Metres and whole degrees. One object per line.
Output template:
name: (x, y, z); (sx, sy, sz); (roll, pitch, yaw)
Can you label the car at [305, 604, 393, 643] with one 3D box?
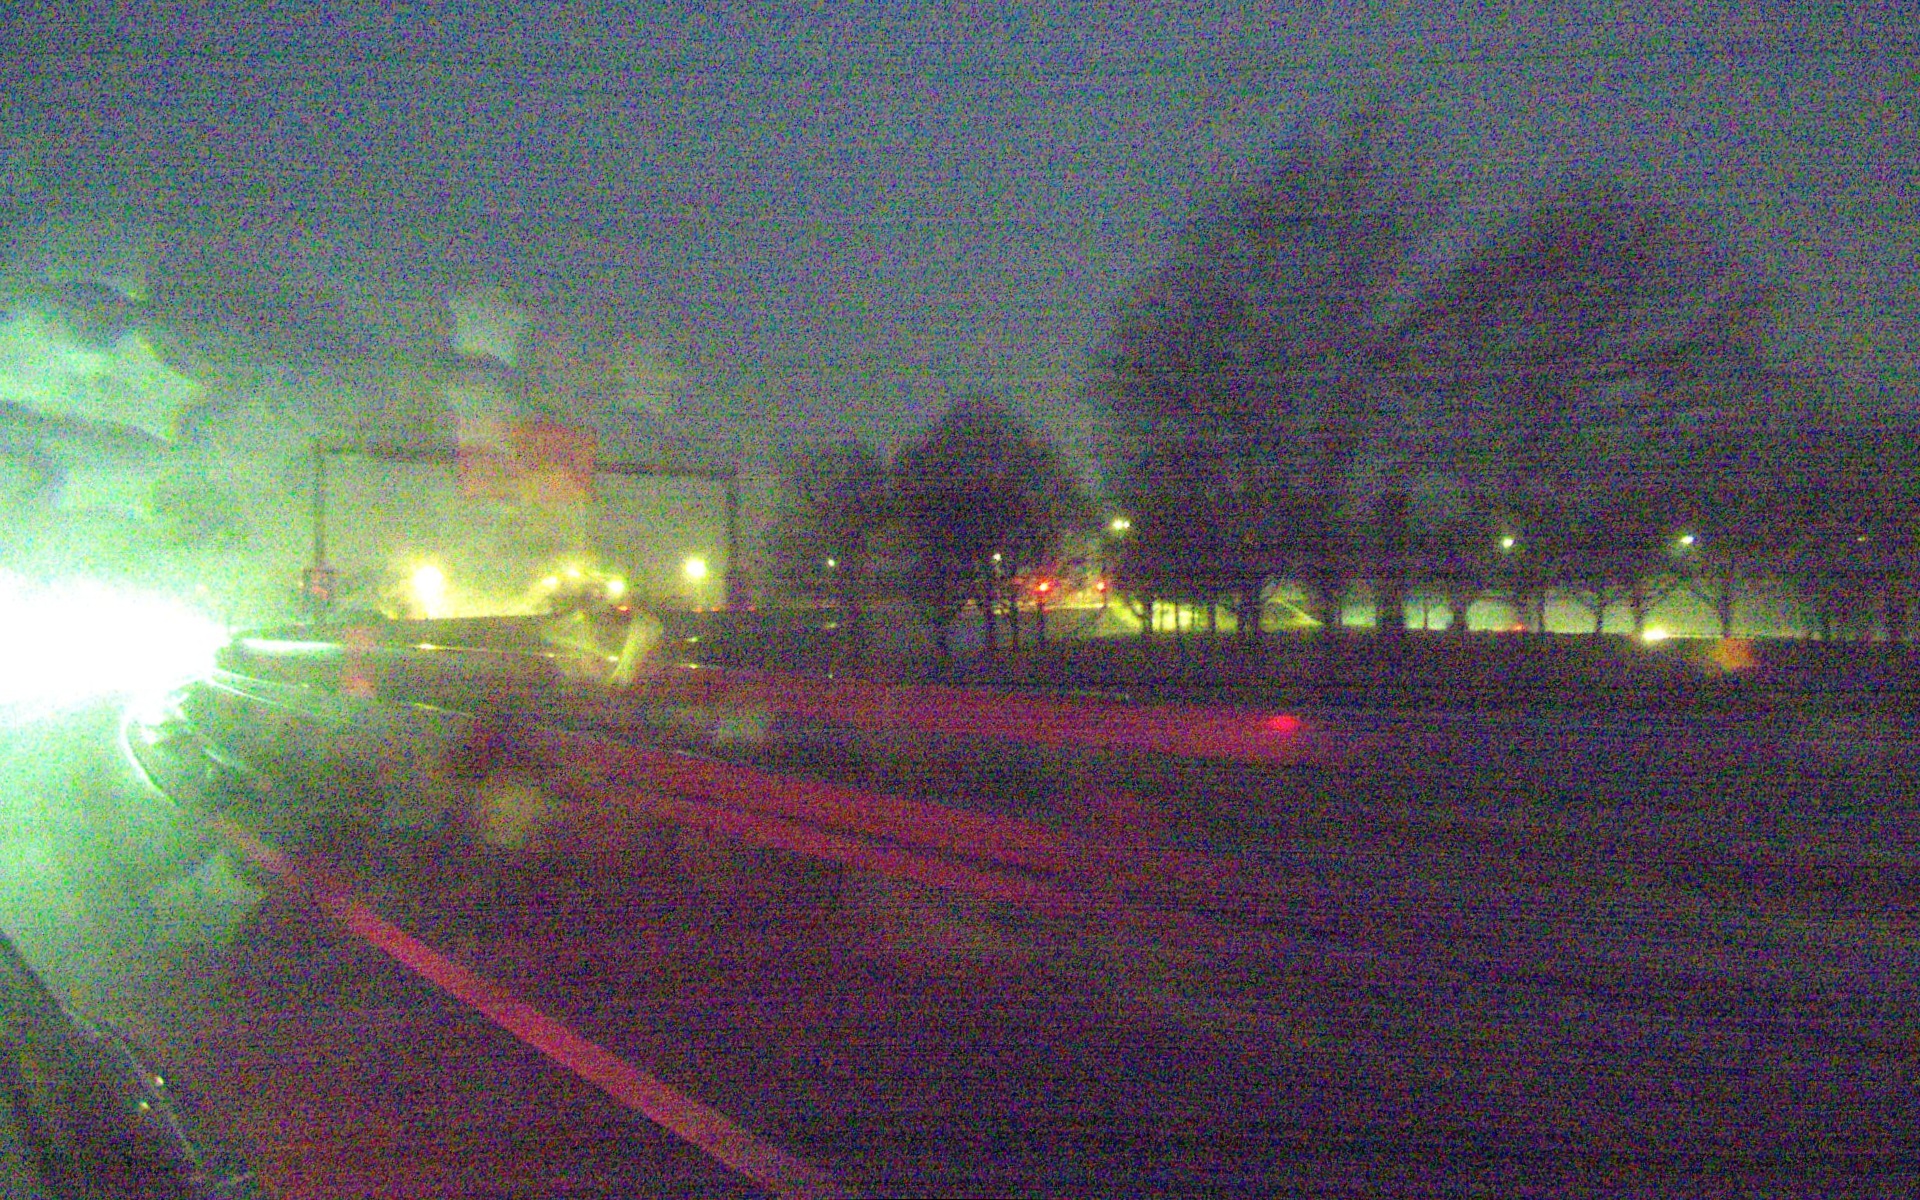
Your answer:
car: (-29.649, 1.150, 49.273); (1.970, 1.761, 4.103); (-2, -1, -3)
